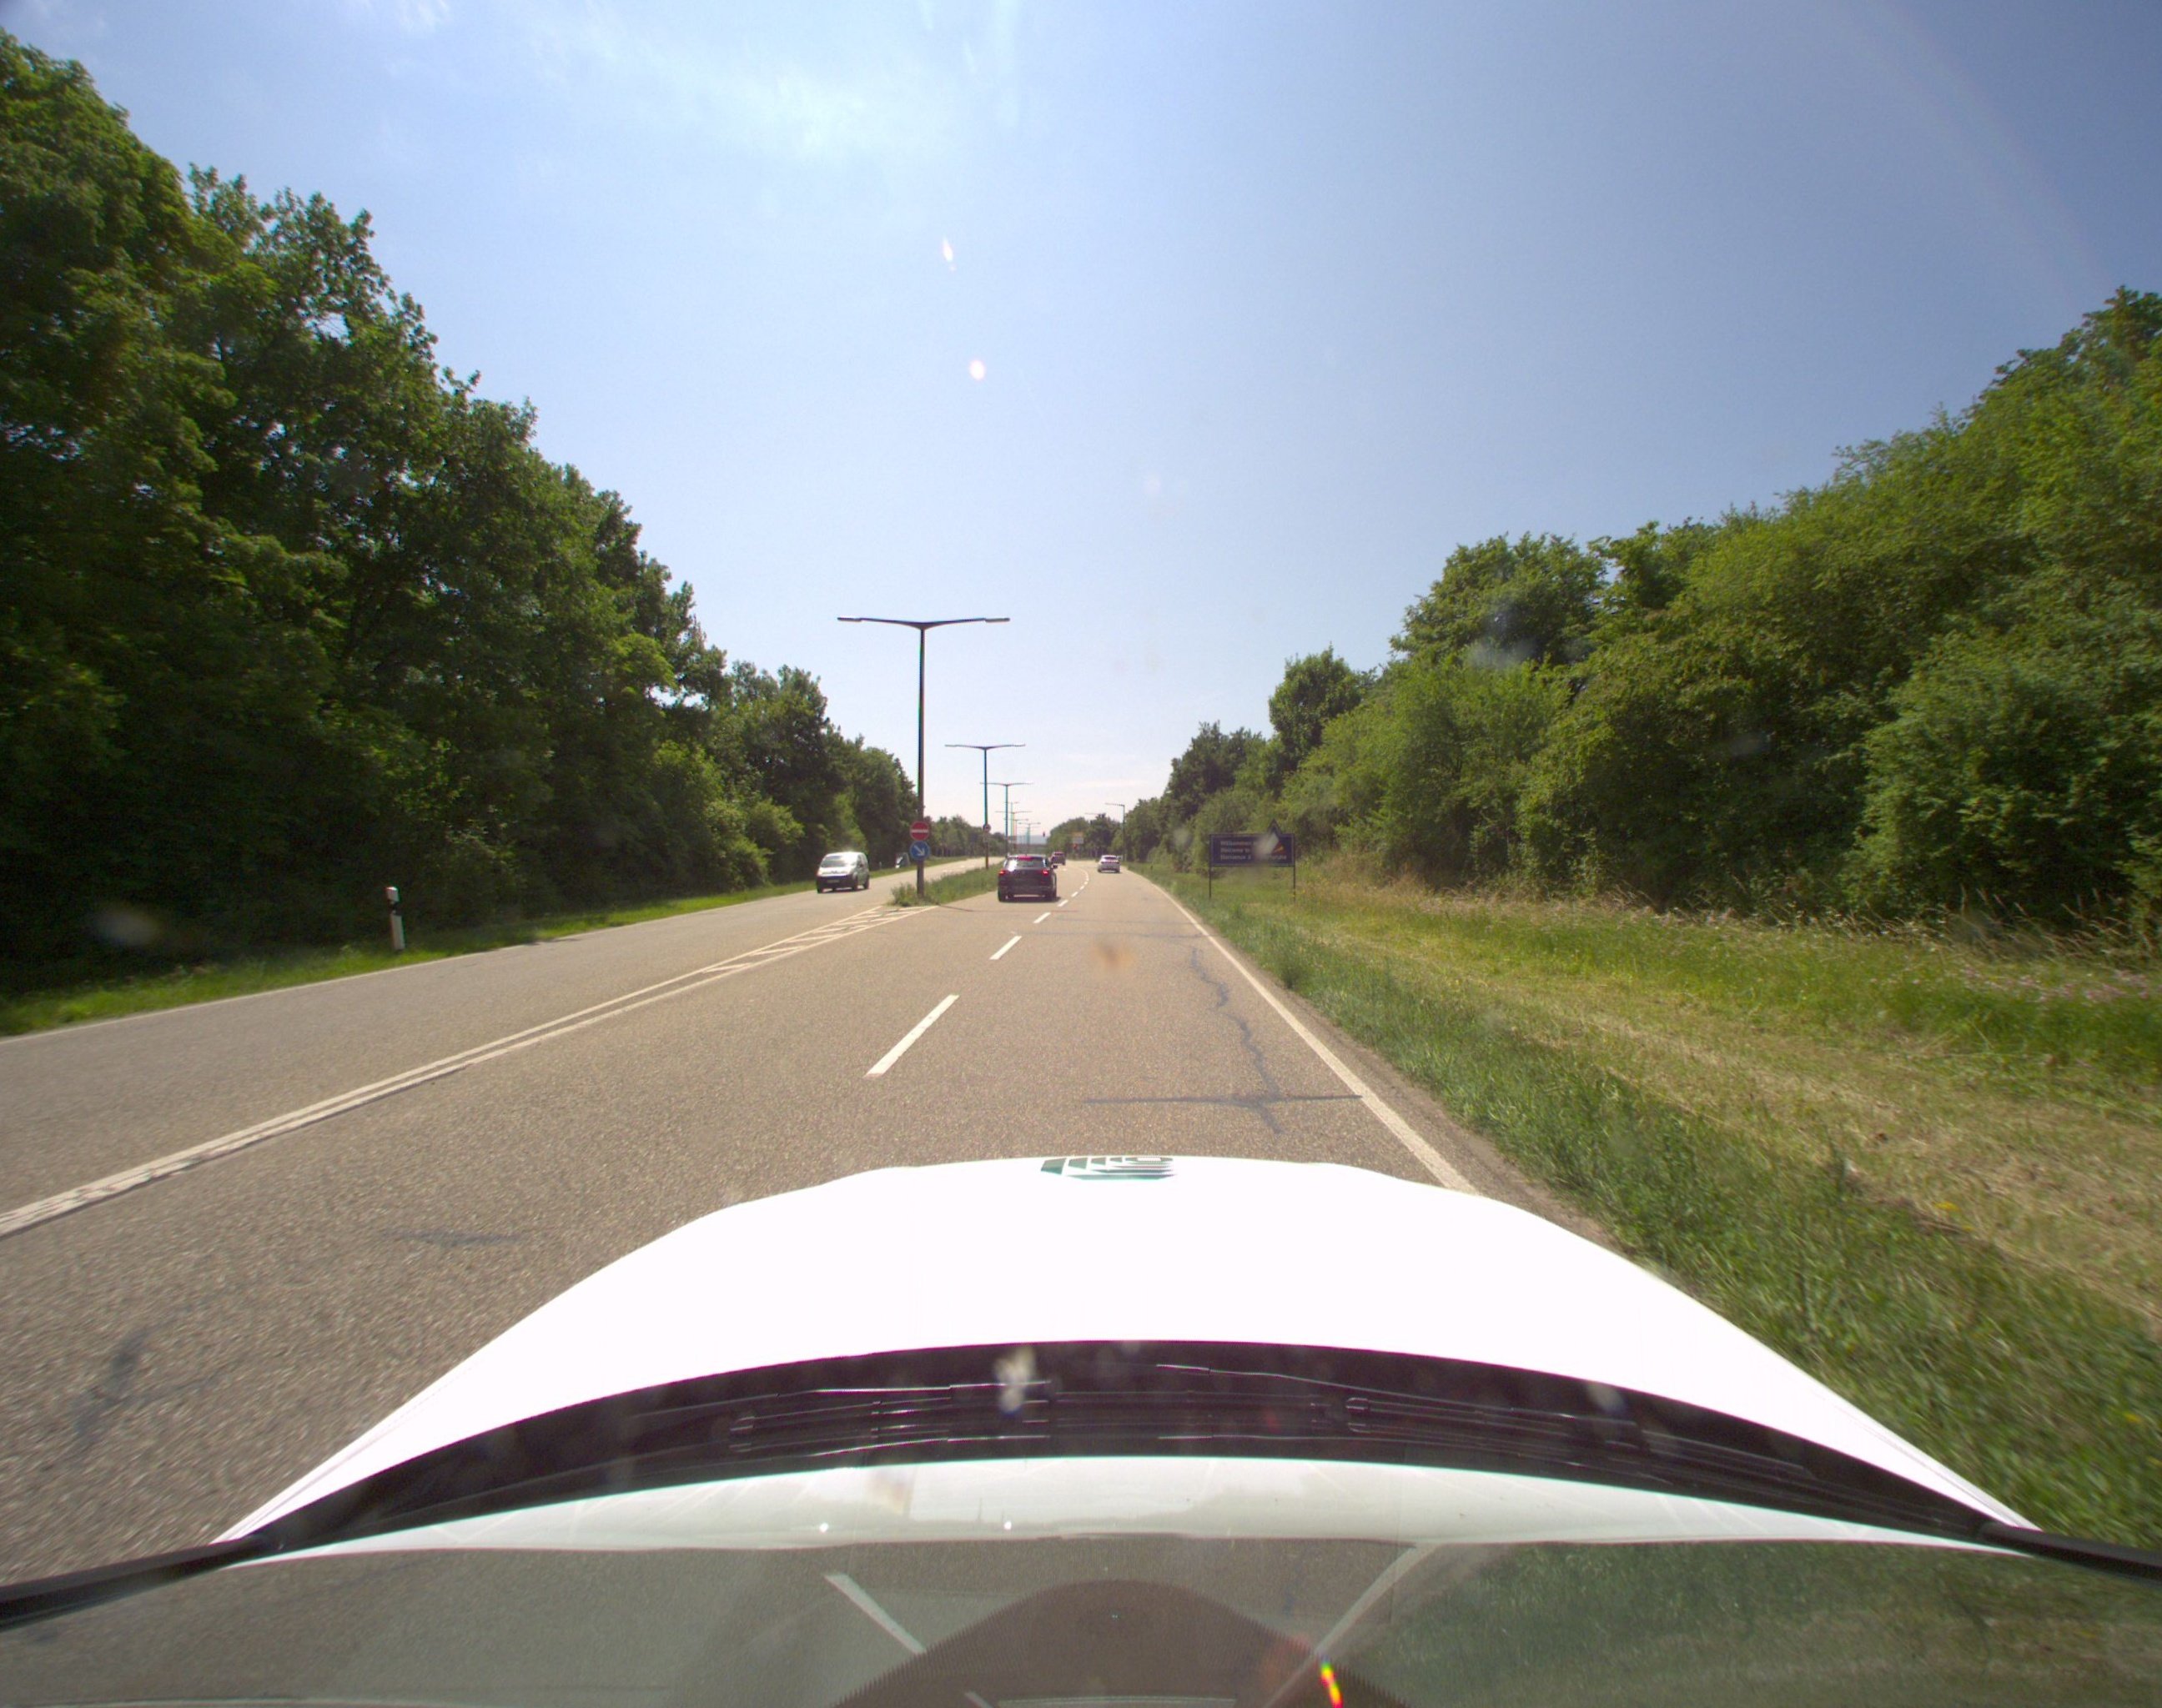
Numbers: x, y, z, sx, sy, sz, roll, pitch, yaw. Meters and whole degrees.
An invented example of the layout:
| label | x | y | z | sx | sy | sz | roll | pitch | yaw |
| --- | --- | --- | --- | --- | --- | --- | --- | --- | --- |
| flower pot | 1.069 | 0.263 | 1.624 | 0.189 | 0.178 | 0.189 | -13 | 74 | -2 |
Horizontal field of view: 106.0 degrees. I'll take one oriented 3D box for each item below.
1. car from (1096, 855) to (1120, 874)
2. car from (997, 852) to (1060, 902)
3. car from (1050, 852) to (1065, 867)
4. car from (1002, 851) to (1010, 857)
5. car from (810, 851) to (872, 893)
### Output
| label | x | y | z | sx | sy | sz | roll | pitch | yaw |
| --- | --- | --- | --- | --- | --- | --- | --- | --- | --- |
| car | 2.248 | 0.855 | 68.732 | 1.793 | 1.583 | 3.996 | 0 | 0 | -3 |
| car | -1.717 | 0.738 | 27.869 | 1.749 | 1.556 | 4.001 | 1 | 0 | 1 |
| car | -3.118 | 0.672 | 107.718 | 1.752 | 1.929 | 3.995 | 1 | 0 | -4 |
| car | -19.752 | 0.101 | 215.875 | 1.823 | 1.519 | 3.998 | 1 | 0 | -1 |
| car | -10.598 | 0.734 | 36.267 | 1.728 | 1.687 | 4.089 | -2 | 0 | -4 |
